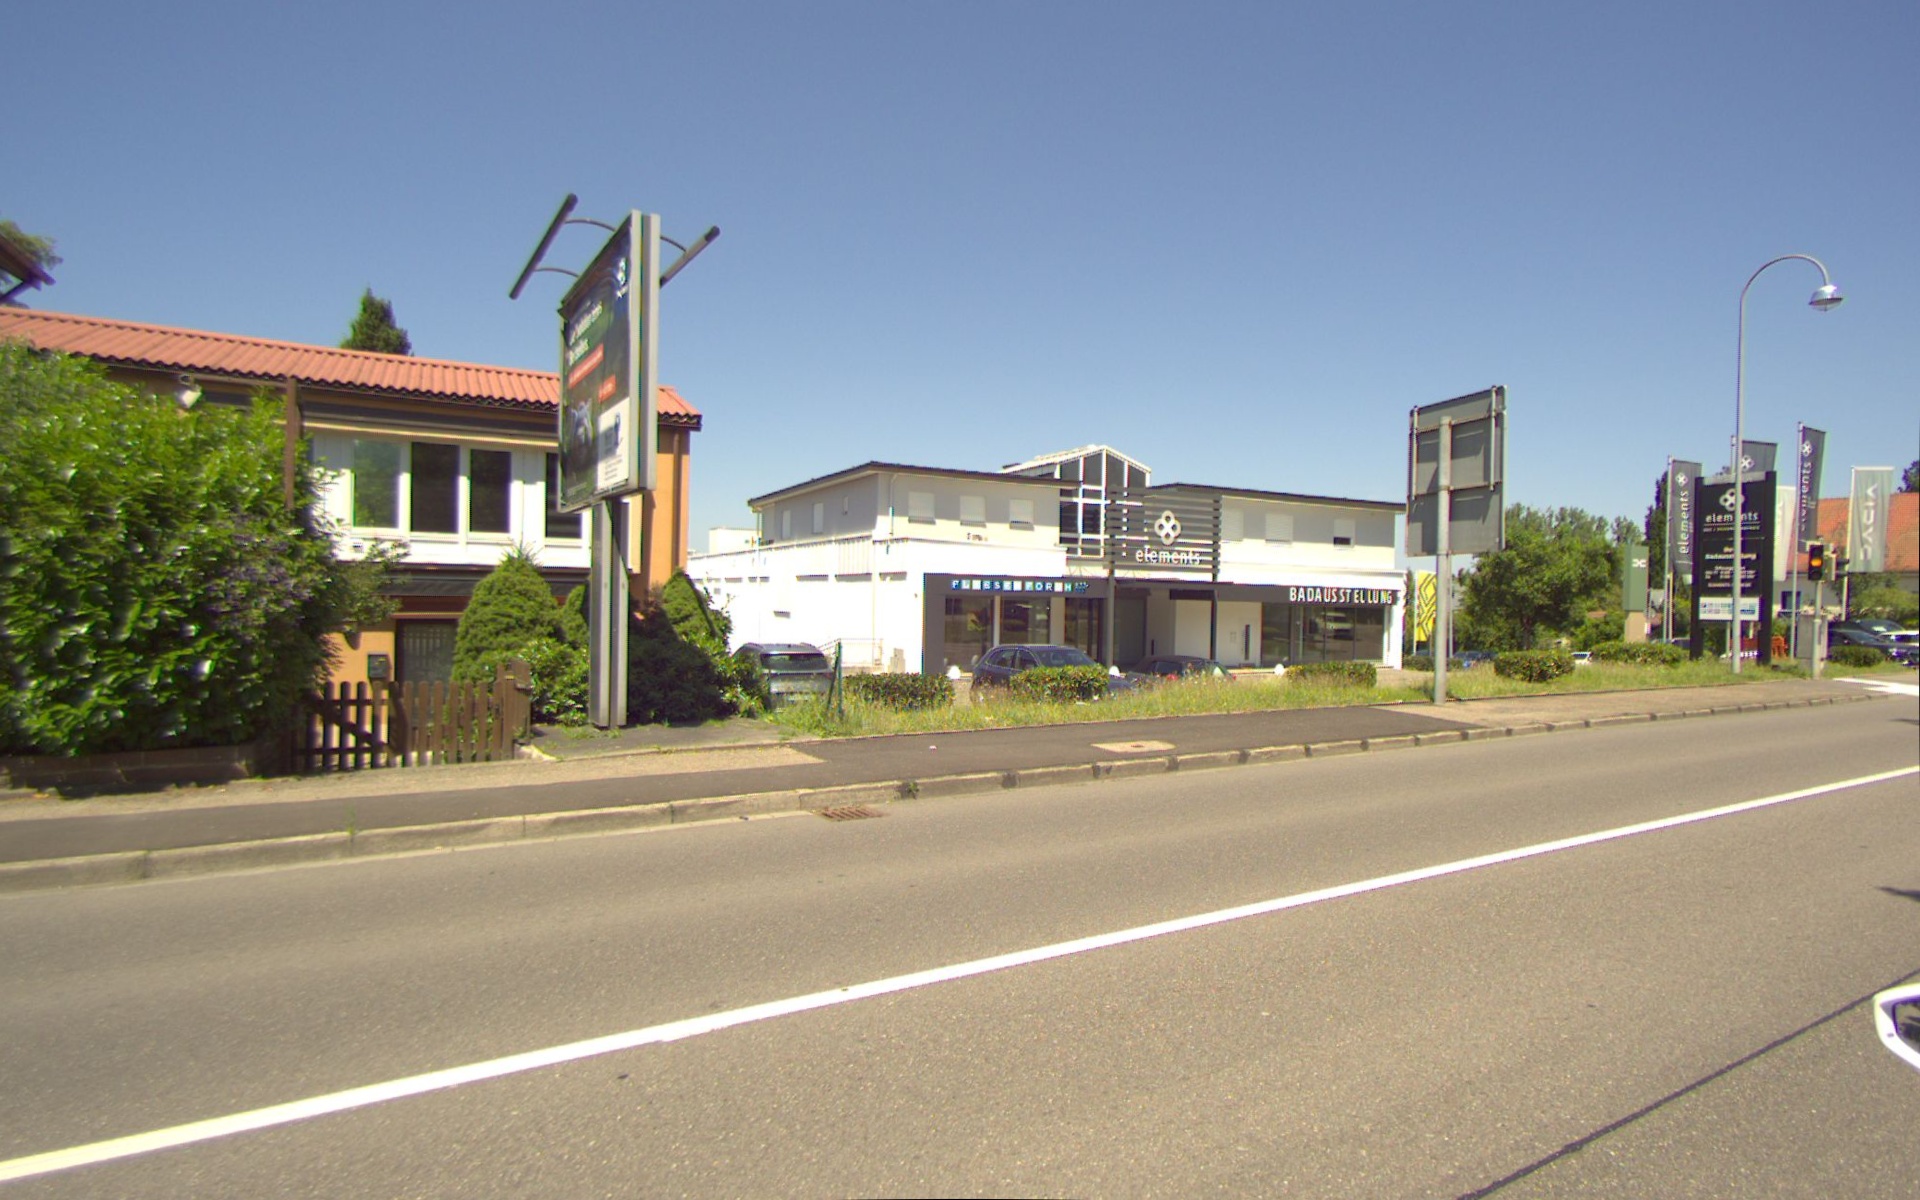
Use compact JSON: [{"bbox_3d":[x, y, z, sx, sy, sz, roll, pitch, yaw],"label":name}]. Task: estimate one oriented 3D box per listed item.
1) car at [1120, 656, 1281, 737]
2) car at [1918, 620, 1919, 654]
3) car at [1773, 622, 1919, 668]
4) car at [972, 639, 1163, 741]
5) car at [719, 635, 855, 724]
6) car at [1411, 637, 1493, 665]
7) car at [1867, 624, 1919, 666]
[{"bbox_3d":[5.209,2.048,22.128,1.756,1.442,3.327,1,0,-26],"label":"car"},{"bbox_3d":[41.896,1.595,41.190,1.581,1.446,3.476,1,0,-28],"label":"car"},{"bbox_3d":[32.164,1.617,36.125,1.896,1.546,4.296,1,-2,-14],"label":"car"},{"bbox_3d":[2.105,1.764,21.003,1.871,1.709,4.314,2,0,-28],"label":"car"},{"bbox_3d":[-3.545,1.480,19.988,1.755,1.470,4.017,1,-1,-24],"label":"car"},{"bbox_3d":[28.471,2.922,58.186,1.736,1.432,3.967,2,0,-30],"label":"car"},{"bbox_3d":[37.049,1.724,37.604,4.233,1.507,1.996,1,0,31],"label":"car"}]
